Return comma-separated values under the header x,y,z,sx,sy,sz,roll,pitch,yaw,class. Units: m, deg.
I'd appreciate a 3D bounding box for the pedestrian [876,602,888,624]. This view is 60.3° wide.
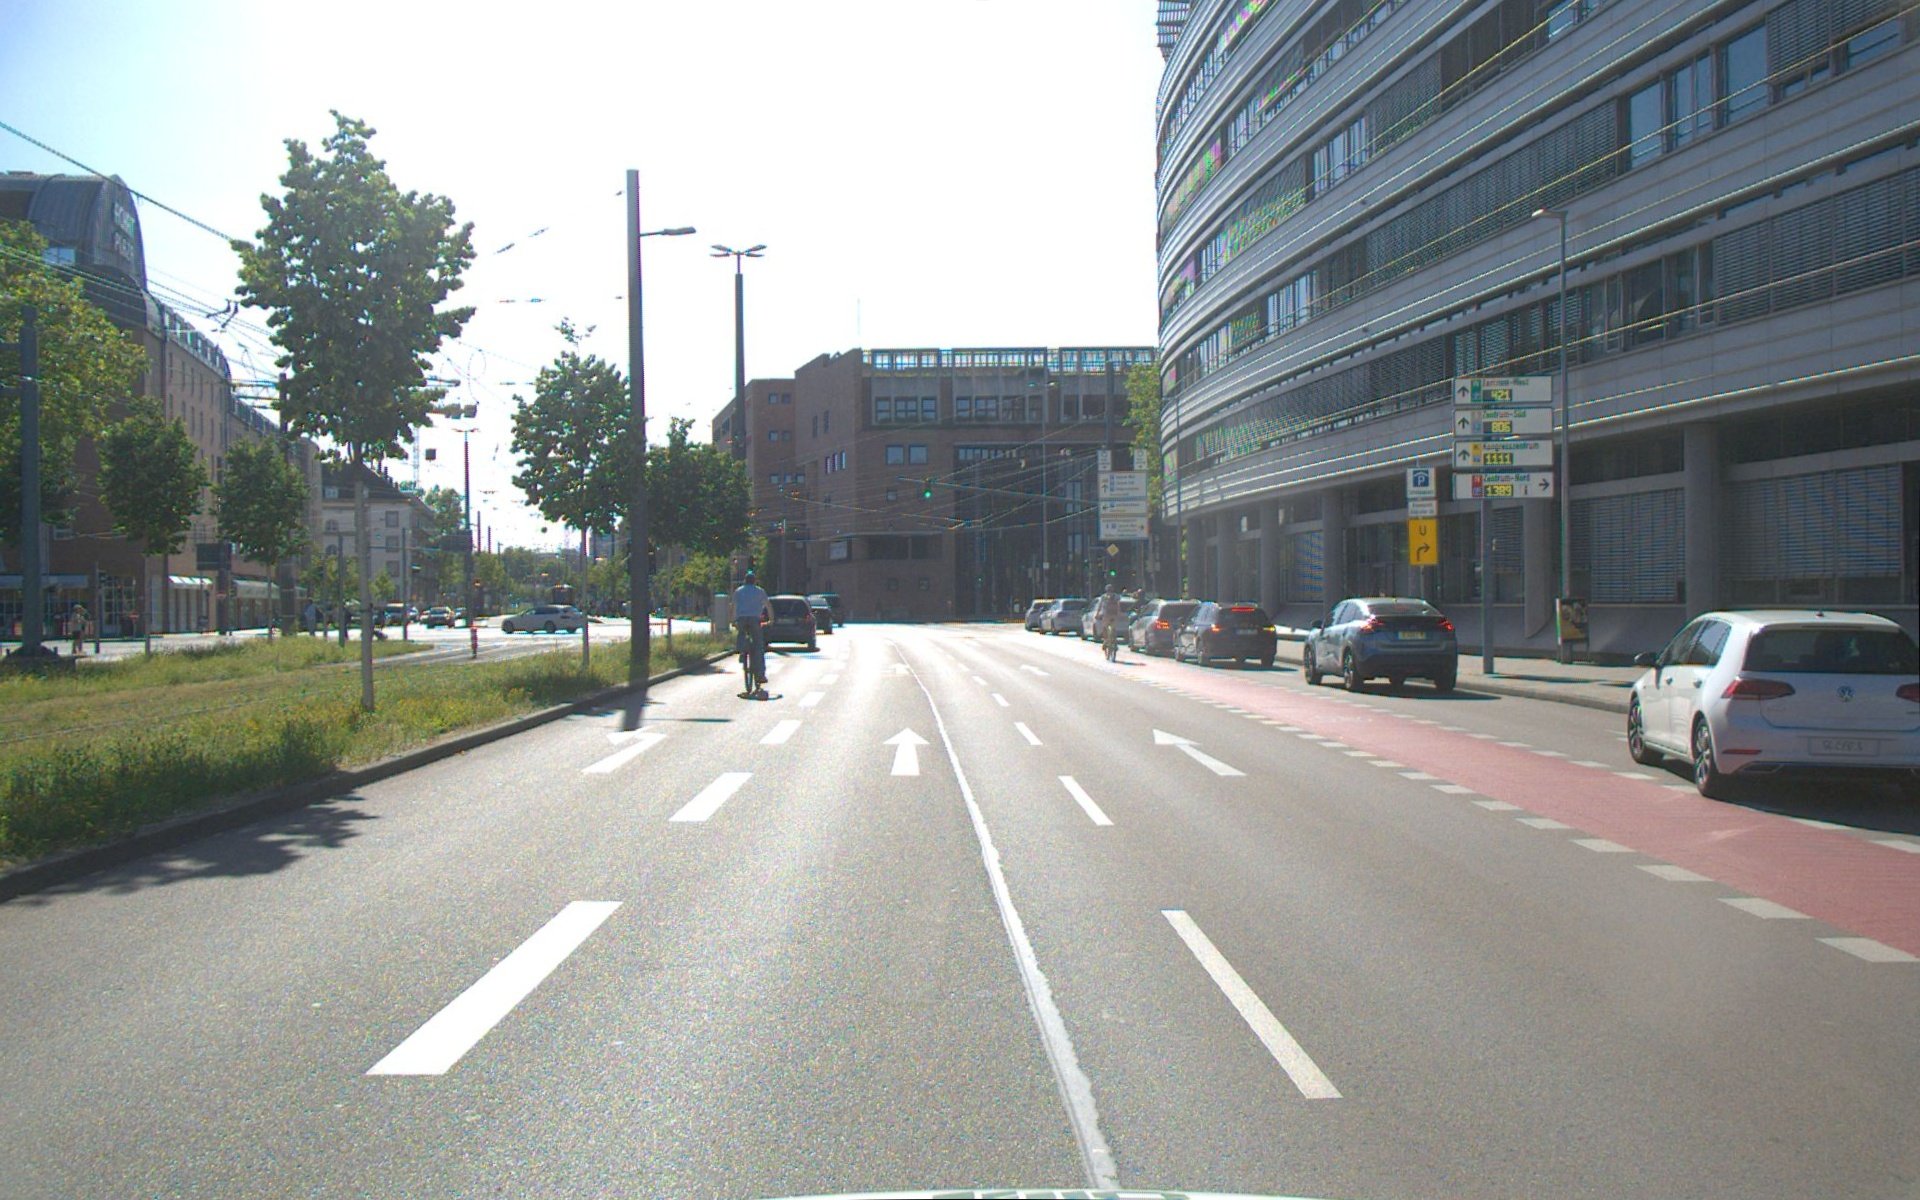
x,y,z,sx,sy,sz,roll,pitch,yaw,class
-5.715,0.986,121.405,0.608,1.590,0.981,-1,-1,-18,pedestrian

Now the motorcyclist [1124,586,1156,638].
x,y,z,sx,sy,sz,roll,pitch,yaw,class
5.553,0.372,51.103,0.812,1.588,0.941,0,-1,-4,motorcyclist

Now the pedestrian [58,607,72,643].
x,y,z,sx,sy,sz,roll,pitch,yaw,class
-50.385,1.401,93.122,0.514,1.966,0.748,-1,0,-16,pedestrian

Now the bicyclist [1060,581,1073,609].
x,y,z,sx,sy,sz,roll,pitch,yaw,class
7.394,-0.320,114.984,0.597,1.917,0.646,-1,0,-23,bicyclist

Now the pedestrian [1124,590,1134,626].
x,y,z,sx,sy,sz,roll,pitch,yaw,class
7.916,0.365,77.407,0.418,1.674,0.562,-2,1,7,pedestrian

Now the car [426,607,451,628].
x,y,z,sx,sy,sz,roll,pitch,yaw,class
-39.730,1.311,126.100,1.584,1.422,3.903,-5,2,-16,car

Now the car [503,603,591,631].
x,y,z,sx,sy,sz,roll,pitch,yaw,class
-22.193,0.934,88.822,4.312,1.405,2.064,-1,0,27,car

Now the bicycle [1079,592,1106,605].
x,y,z,sx,sy,sz,roll,pitch,yaw,class
8.739,-0.112,109.366,1.641,0.820,0.671,-1,0,-15,bicycle

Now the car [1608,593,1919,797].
x,y,z,sx,sy,sz,roll,pitch,yaw,class
6.806,0.691,14.018,1.735,1.427,4.297,1,0,12,car

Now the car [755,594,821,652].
x,y,z,sx,sy,sz,roll,pitch,yaw,class
-4.930,0.644,47.788,1.692,1.591,3.675,-1,0,-3,car

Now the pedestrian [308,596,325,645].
x,y,z,sx,sy,sz,roll,pitch,yaw,class
-24.809,0.779,63.797,0.457,1.863,0.452,-1,0,-42,pedestrian

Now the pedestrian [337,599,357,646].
x,y,z,sx,sy,sz,roll,pitch,yaw,class
-24.119,0.883,65.075,0.577,1.863,0.490,-1,0,-42,pedestrian

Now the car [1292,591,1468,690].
x,y,z,sx,sy,sz,roll,pitch,yaw,class
7.115,0.644,28.475,1.687,1.551,4.396,-1,0,-3,car

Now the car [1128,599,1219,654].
x,y,z,sx,sy,sz,roll,pitch,yaw,class
5.861,0.689,45.934,1.687,1.420,4.785,-1,0,-3,car

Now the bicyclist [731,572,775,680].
x,y,z,sx,sy,sz,roll,pitch,yaw,class
-3.304,0.404,26.469,0.605,1.699,1.019,1,0,-3,bicyclist

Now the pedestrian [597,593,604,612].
x,y,z,sx,sy,sz,roll,pitch,yaw,class
-32.275,0.205,148.598,0.530,1.684,0.703,-1,0,-18,pedestrian

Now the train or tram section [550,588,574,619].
x,y,z,sx,sy,sz,roll,pitch,yaw,class
-42.228,0.374,175.851,2.286,3.056,13.116,-1,0,-13,train or tram section

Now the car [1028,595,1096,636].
x,y,z,sx,sy,sz,roll,pitch,yaw,class
4.069,0.600,66.628,1.871,1.568,4.129,1,0,-9,car

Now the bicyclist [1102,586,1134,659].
x,y,z,sx,sy,sz,roll,pitch,yaw,class
3.921,0.555,41.180,0.636,1.783,1.045,-1,1,-2,bicyclist

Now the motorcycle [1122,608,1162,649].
x,y,z,sx,sy,sz,roll,pitch,yaw,class
5.602,0.863,50.940,0.812,1.222,2.388,0,-1,-4,motorcycle

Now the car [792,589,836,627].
x,y,z,sx,sy,sz,roll,pitch,yaw,class
-6.125,0.328,69.075,1.693,1.474,4.514,-1,0,-7,car

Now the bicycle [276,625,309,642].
x,y,z,sx,sy,sz,roll,pitch,yaw,class
-55.710,2.782,138.084,2.437,1.333,0.732,-1,0,-6,bicycle

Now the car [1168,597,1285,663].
x,y,z,sx,sy,sz,roll,pitch,yaw,class
6.270,0.673,39.364,1.688,1.447,4.633,-1,0,-4,car

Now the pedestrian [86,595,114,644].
x,y,z,sx,sy,sz,roll,pitch,yaw,class
-33.335,0.760,64.117,0.745,1.863,0.625,-1,0,5,pedestrian

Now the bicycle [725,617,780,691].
x,y,z,sx,sy,sz,roll,pitch,yaw,class
-3.315,0.842,26.565,0.673,1.088,2.695,1,0,-3,bicycle

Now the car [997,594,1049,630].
x,y,z,sx,sy,sz,roll,pitch,yaw,class
2.947,0.554,77.816,1.869,1.611,4.133,1,0,-6,car

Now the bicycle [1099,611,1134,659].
x,y,z,sx,sy,sz,roll,pitch,yaw,class
3.901,0.863,41.422,0.636,1.129,1.757,-1,1,-2,bicycle

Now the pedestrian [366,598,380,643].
x,y,z,sx,sy,sz,roll,pitch,yaw,class
-23.987,0.836,67.575,0.382,1.863,0.458,-1,0,-35,pedestrian

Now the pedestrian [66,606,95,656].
x,y,z,sx,sy,sz,roll,pitch,yaw,class
-33.446,1.165,62.891,0.745,1.863,0.625,-1,0,2,pedestrian

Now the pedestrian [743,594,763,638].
x,y,z,sx,sy,sz,roll,pitch,yaw,class
-8.639,0.660,69.021,0.659,1.783,0.766,-1,0,-16,pedestrian

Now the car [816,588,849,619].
x,y,z,sx,sy,sz,roll,pitch,yaw,class
-7.377,0.197,95.576,1.748,1.732,4.132,1,0,-6,car

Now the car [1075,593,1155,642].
x,y,z,sx,sy,sz,roll,pitch,yaw,class
5.321,0.573,57.308,1.870,1.611,4.131,1,0,-8,car

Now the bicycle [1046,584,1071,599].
x,y,z,sx,sy,sz,roll,pitch,yaw,class
6.839,-0.588,114.752,1.646,1.012,0.668,-1,0,-24,bicycle
